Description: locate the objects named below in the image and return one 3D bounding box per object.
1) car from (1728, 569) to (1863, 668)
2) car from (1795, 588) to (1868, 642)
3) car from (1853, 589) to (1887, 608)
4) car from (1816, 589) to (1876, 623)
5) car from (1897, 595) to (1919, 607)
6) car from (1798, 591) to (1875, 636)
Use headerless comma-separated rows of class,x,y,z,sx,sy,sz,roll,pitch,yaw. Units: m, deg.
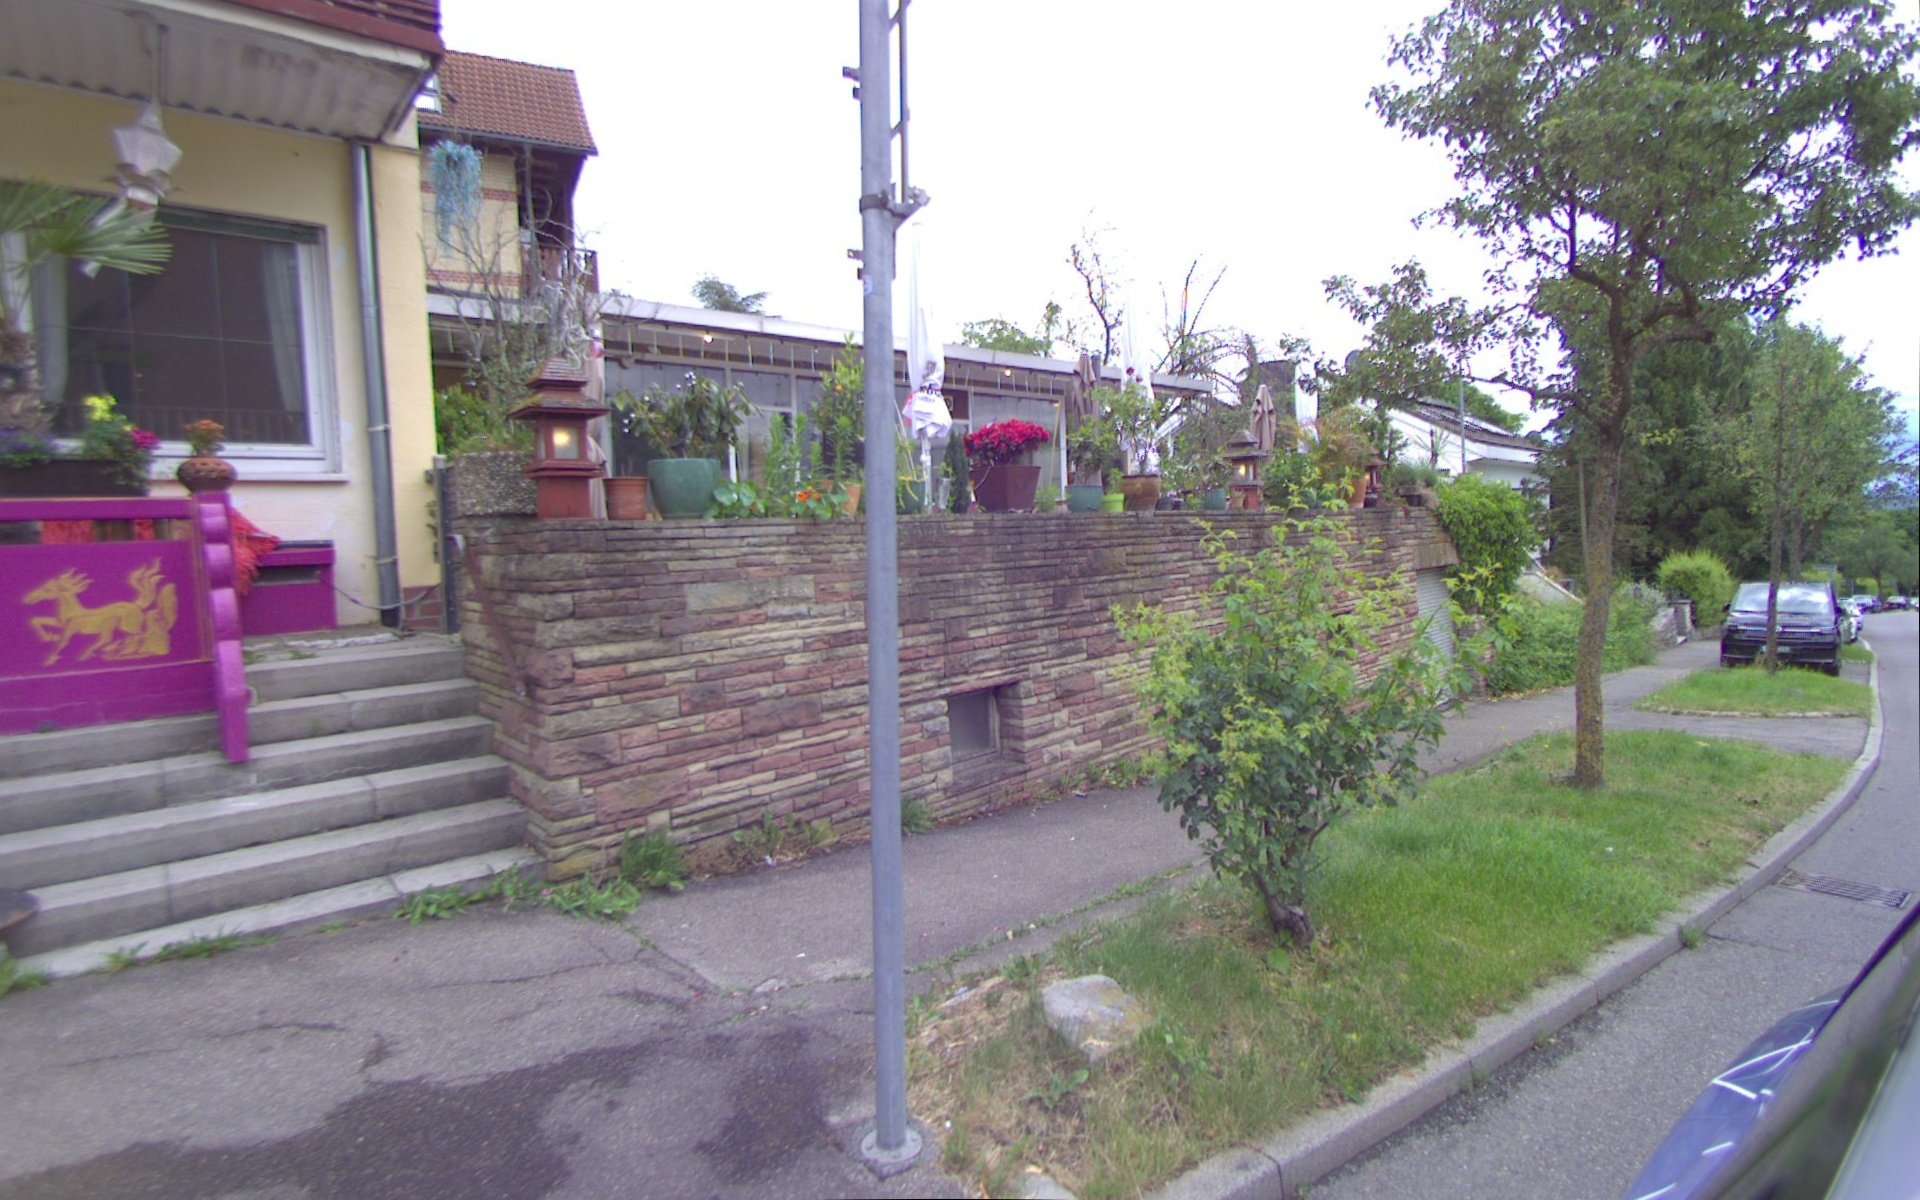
car,17.838,0.309,21.514,1.936,1.860,5.139,2,2,42
car,28.552,0.447,33.121,1.716,1.653,3.868,-1,0,42
car,75.103,-0.130,83.510,4.307,1.507,1.791,0,2,-45
car,46.275,0.299,52.935,1.997,1.628,4.694,3,2,38
car,108.852,0.103,116.014,3.935,1.244,1.995,-1,2,-44
car,32.888,0.451,37.917,1.994,1.510,4.926,3,2,43
